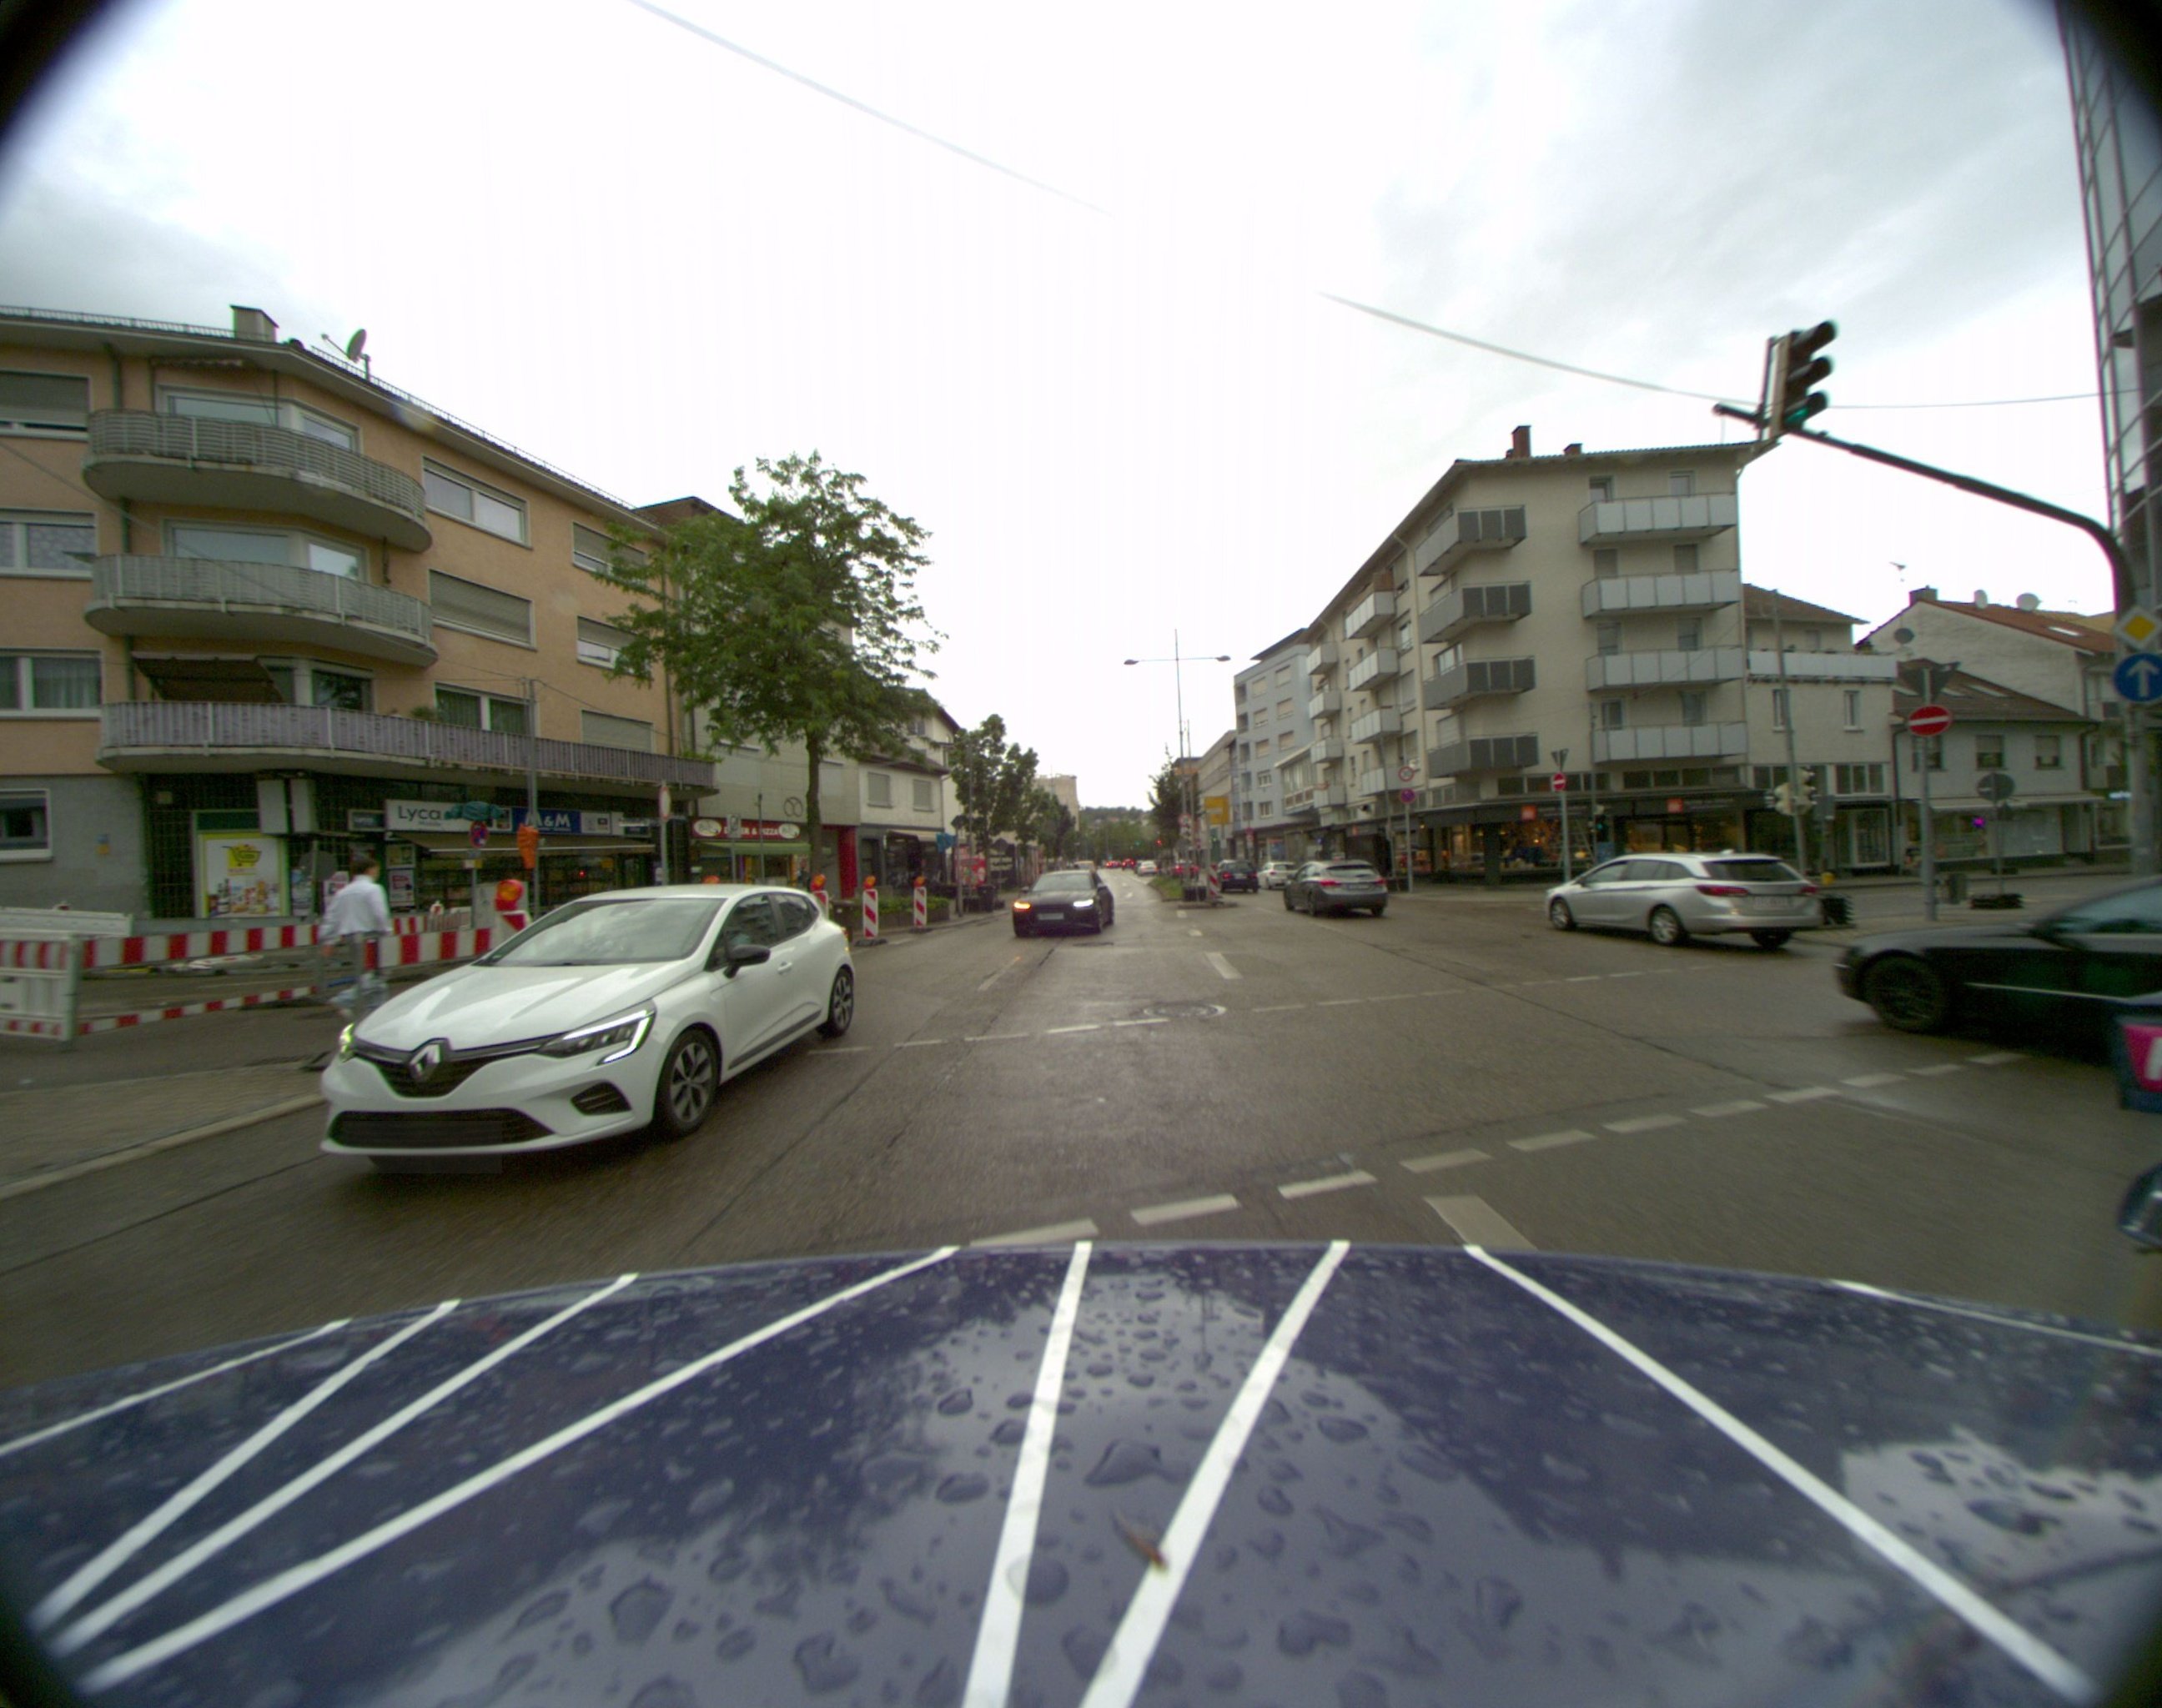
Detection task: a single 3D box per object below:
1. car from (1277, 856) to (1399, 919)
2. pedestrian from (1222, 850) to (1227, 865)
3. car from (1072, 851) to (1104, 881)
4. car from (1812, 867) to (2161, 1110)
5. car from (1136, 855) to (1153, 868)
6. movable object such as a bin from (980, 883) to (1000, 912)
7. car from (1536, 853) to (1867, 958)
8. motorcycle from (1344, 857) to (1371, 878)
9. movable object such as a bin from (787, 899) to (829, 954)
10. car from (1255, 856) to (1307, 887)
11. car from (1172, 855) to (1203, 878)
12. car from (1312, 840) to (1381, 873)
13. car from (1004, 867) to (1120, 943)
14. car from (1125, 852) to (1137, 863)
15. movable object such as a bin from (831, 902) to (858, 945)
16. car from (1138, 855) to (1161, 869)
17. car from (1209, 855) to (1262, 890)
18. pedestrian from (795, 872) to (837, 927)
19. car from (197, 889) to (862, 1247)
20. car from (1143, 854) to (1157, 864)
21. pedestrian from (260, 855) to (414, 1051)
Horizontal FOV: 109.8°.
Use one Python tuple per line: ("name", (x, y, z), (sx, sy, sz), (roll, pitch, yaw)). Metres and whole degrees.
("car", (6.911, 0.821, 20.975), (1.857, 1.465, 4.648), (-2, 0, 1))
("pedestrian", (15.816, 0.371, 83.838), (0.513, 1.679, 0.531), (-1, 2, 2))
("car", (0.629, 0.879, 60.405), (2.198, 2.074, 5.933), (-3, 1, 3))
("car", (7.400, 0.843, 4.426), (1.829, 1.358, 4.602), (-1, 1, -1))
("car", (7.580, 0.915, 91.011), (1.821, 1.432, 4.158), (-1, 0, 2))
("movable object such as a bin", (-3.507, 1.676, 29.351), (0.579, 1.104, 0.666), (-1, -1, 8))
("car", (10.135, 0.722, 13.020), (1.933, 1.465, 4.603), (0, 0, 0))
("motorcycle", (15.228, 0.732, 41.880), (0.670, 1.081, 2.196), (-5, 1, 1))
("movable object such as a bin", (-5.380, 1.421, 14.984), (0.622, 1.025, 0.532), (-1, -1, 1))
("car", (10.577, 0.876, 40.489), (1.776, 1.515, 4.284), (-2, 0, 3))
("car", (8.002, 0.913, 57.482), (1.851, 1.584, 4.091), (-2, 0, 3))
("car", (17.969, 0.161, 51.612), (3.996, 2.042, 1.895), (-3, 0, 3))
("car", (-0.284, 1.149, 18.920), (2.039, 1.379, 5.296), (-4, 0, 7))
("car", (7.965, 0.602, 120.772), (1.777, 1.634, 3.840), (-1, 0, 1))
("movable object such as a bin", (-5.319, 1.550, 17.091), (0.420, 0.924, 0.532), (-1, -1, 1))
("car", (7.028, 0.820, 78.042), (1.850, 1.409, 4.615), (0, 0, -1))
("car", (7.526, 0.859, 37.436), (1.834, 1.534, 4.284), (-2, 0, 2))
("pedestrian", (-9.023, 1.519, 25.920), (0.968, 1.782, 0.908), (1, 2, 33))
("car", (-3.047, 1.058, 5.394), (1.680, 1.395, 4.000), (-1, 0, 2))
("car", (10.031, 0.676, 110.431), (1.702, 1.432, 3.840), (-1, 0, 2))
("pedestrian", (-7.622, 0.961, 7.843), (0.658, 1.868, 0.993), (-2, 0, -11))
